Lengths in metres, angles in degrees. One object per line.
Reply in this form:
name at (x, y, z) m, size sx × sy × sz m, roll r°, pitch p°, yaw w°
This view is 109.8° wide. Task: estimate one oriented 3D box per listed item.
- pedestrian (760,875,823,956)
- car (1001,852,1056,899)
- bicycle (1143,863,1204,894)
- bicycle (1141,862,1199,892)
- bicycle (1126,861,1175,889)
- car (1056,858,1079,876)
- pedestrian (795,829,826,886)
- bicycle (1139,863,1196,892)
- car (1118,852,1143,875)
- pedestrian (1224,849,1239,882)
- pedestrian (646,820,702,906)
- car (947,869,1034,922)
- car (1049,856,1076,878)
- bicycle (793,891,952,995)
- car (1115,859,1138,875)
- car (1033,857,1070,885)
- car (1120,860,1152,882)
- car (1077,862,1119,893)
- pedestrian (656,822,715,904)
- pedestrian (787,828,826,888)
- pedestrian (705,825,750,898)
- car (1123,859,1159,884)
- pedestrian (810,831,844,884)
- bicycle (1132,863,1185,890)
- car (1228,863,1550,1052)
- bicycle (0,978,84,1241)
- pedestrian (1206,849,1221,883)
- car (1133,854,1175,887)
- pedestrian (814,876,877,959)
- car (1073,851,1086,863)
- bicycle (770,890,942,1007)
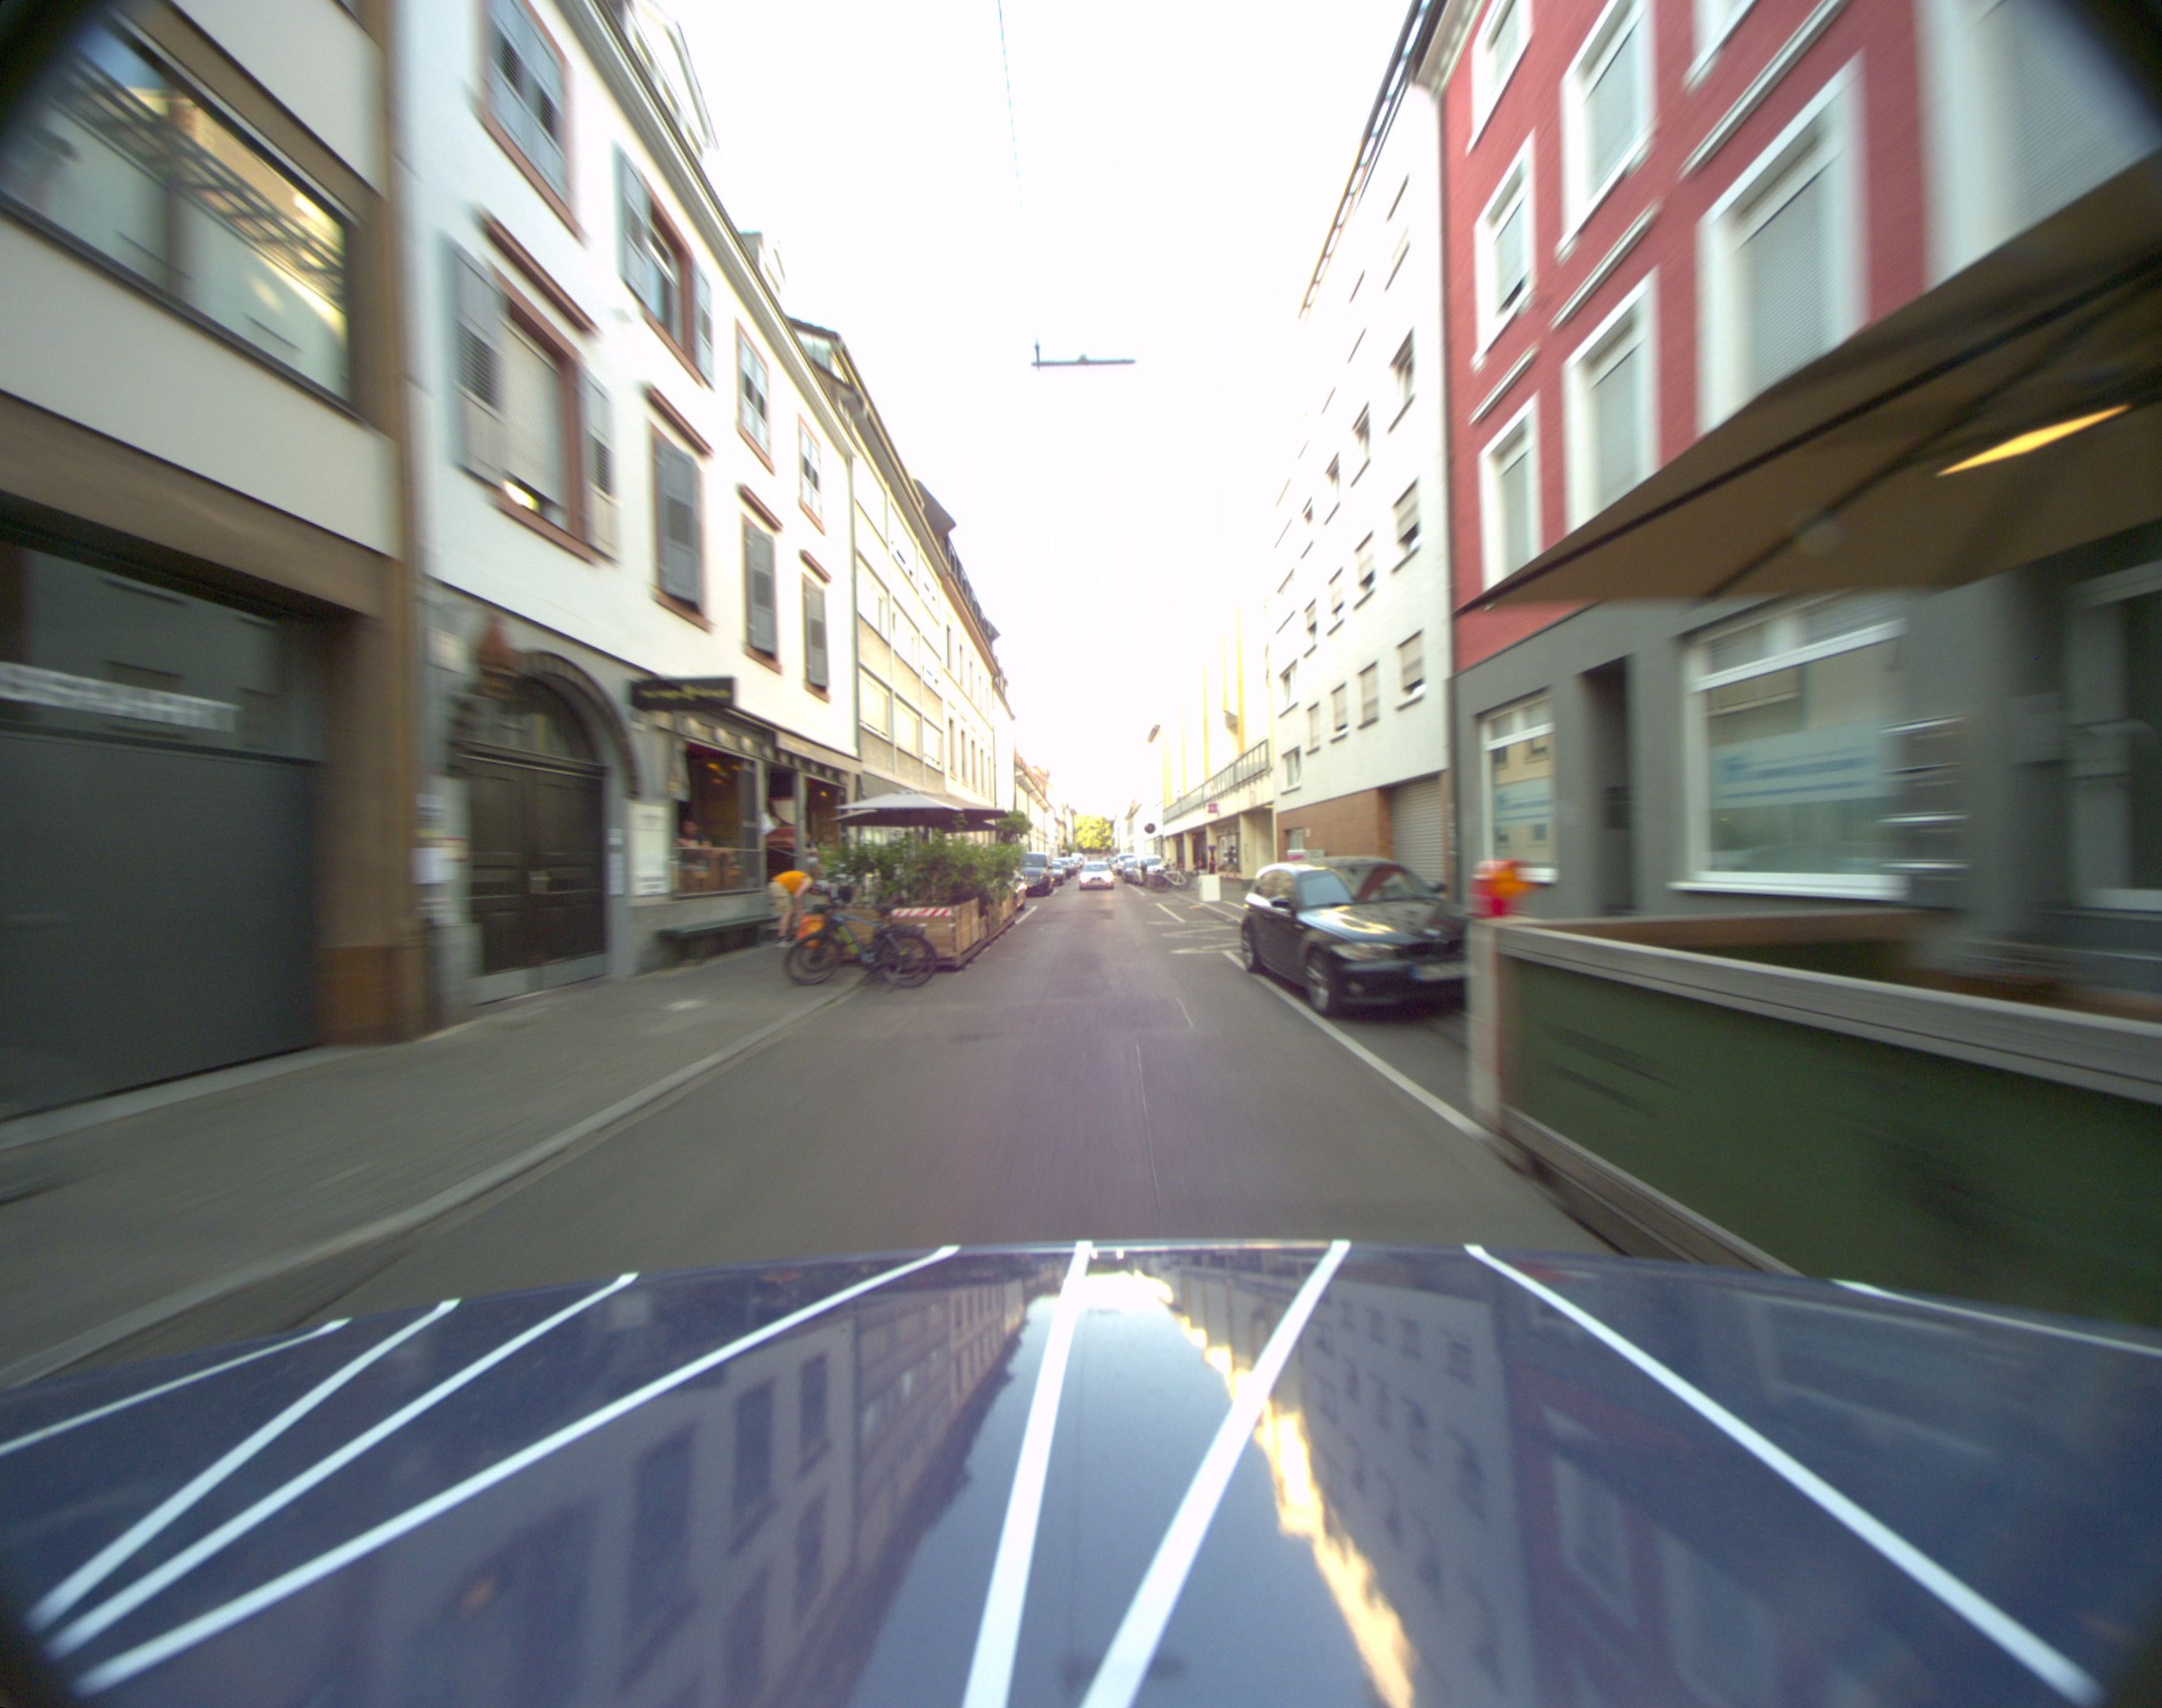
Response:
pedestrian at (-4.645, 0.982, 12.236) m, size 0.736 × 1.236 × 0.646 m, roll -1°, pitch 1°, yaw 1°
car at (-2.187, 0.892, 32.803) m, size 1.998 × 1.835 × 4.000 m, roll -2°, pitch 0°, yaw 1°
bicycle at (3.960, 1.050, 32.569) m, size 2.480 × 1.172 × 0.784 m, roll -2°, pitch 1°, yaw 7°
bicycle at (3.926, 1.001, 33.498) m, size 2.480 × 1.172 × 0.784 m, roll -2°, pitch 1°, yaw 7°
bicycle at (3.606, 1.071, 39.472) m, size 2.480 × 1.322 × 0.784 m, roll -2°, pitch 1°, yaw 7°
car at (-1.302, 1.251, 74.033) m, size 1.998 × 1.666 × 4.459 m, roll -2°, pitch 0°, yaw 1°
pedestrian at (-5.995, 0.076, 16.825) m, size 0.568 × 1.236 × 0.469 m, roll -2°, pitch 1°, yaw -28°
bicycle at (3.913, 1.068, 34.399) m, size 2.480 × 1.172 × 0.784 m, roll -2°, pitch 1°, yaw 7°
car at (4.603, 0.869, 70.763) m, size 1.998 × 2.029 × 4.459 m, roll -2°, pitch 0°, yaw 1°
pedestrian at (7.545, 0.565, 38.062) m, size 0.641 × 1.652 × 0.718 m, roll -2°, pitch 0°, yaw 11°
pedestrian at (-6.000, 0.131, 11.224) m, size 0.467 × 1.236 × 0.609 m, roll -1°, pitch 1°, yaw 1°
car at (-2.504, 1.135, 22.031) m, size 1.940 × 1.288 × 4.000 m, roll -2°, pitch 0°, yaw 1°
car at (-1.502, 1.028, 63.056) m, size 1.998 × 1.666 × 4.459 m, roll -2°, pitch 0°, yaw 1°
bicycle at (-2.694, 1.141, 9.934) m, size 1.873 × 1.221 × 0.596 m, roll 2°, pitch 0°, yaw 1°
car at (4.492, 1.238, 75.989) m, size 1.998 × 1.462 × 4.459 m, roll -2°, pitch 0°, yaw 1°
car at (-1.813, 1.032, 48.079) m, size 1.998 × 1.666 × 4.459 m, roll -2°, pitch 0°, yaw 1°
car at (3.902, 1.198, 54.515) m, size 1.998 × 1.462 × 4.459 m, roll -2°, pitch 0°, yaw 1°
car at (0.858, 1.157, 38.812) m, size 1.998 × 1.413 × 4.459 m, roll -2°, pitch 0°, yaw 1°
pedestrian at (-6.204, 0.134, 11.952) m, size 0.566 × 1.236 × 0.609 m, roll -1°, pitch 1°, yaw 1°
pedestrian at (-5.815, 0.091, 16.102) m, size 0.566 × 1.236 × 0.609 m, roll -1°, pitch 1°, yaw 1°
pedestrian at (-6.237, 0.127, 13.409) m, size 0.467 × 1.236 × 0.609 m, roll -1°, pitch 1°, yaw 1°
car at (3.774, 1.097, 48.571) m, size 1.998 × 1.462 × 4.459 m, roll -2°, pitch 0°, yaw 1°
pedestrian at (-6.034, 0.079, 18.048) m, size 0.566 × 1.236 × 0.609 m, roll -1°, pitch 1°, yaw 1°
bicycle at (3.742, 1.062, 36.601) m, size 2.480 × 1.172 × 0.784 m, roll -2°, pitch 1°, yaw 7°
car at (2.919, 0.865, 8.270) m, size 1.722 × 1.452 × 4.134 m, roll -2°, pitch 0°, yaw -1°
bicycle at (-4.922, 1.120, 2.660) m, size 0.520 × 1.083 × 1.752 m, roll 2°, pitch 0°, yaw 1°
pedestrian at (6.613, 0.608, 37.949) m, size 0.641 × 1.652 × 0.718 m, roll -2°, pitch 0°, yaw 11°
car at (4.076, 0.892, 43.038) m, size 1.998 × 1.666 × 4.459 m, roll -2°, pitch 0°, yaw 1°
pedestrian at (-3.757, 1.000, 12.181) m, size 0.736 × 1.236 × 0.646 m, roll -2°, pitch 1°, yaw 2°
car at (-0.236, 0.501, 124.380) m, size 1.998 × 1.884 × 4.459 m, roll -2°, pitch 0°, yaw 1°
bicycle at (-2.706, 1.127, 9.251) m, size 1.873 × 1.295 × 0.596 m, roll 2°, pitch 0°, yaw 1°
